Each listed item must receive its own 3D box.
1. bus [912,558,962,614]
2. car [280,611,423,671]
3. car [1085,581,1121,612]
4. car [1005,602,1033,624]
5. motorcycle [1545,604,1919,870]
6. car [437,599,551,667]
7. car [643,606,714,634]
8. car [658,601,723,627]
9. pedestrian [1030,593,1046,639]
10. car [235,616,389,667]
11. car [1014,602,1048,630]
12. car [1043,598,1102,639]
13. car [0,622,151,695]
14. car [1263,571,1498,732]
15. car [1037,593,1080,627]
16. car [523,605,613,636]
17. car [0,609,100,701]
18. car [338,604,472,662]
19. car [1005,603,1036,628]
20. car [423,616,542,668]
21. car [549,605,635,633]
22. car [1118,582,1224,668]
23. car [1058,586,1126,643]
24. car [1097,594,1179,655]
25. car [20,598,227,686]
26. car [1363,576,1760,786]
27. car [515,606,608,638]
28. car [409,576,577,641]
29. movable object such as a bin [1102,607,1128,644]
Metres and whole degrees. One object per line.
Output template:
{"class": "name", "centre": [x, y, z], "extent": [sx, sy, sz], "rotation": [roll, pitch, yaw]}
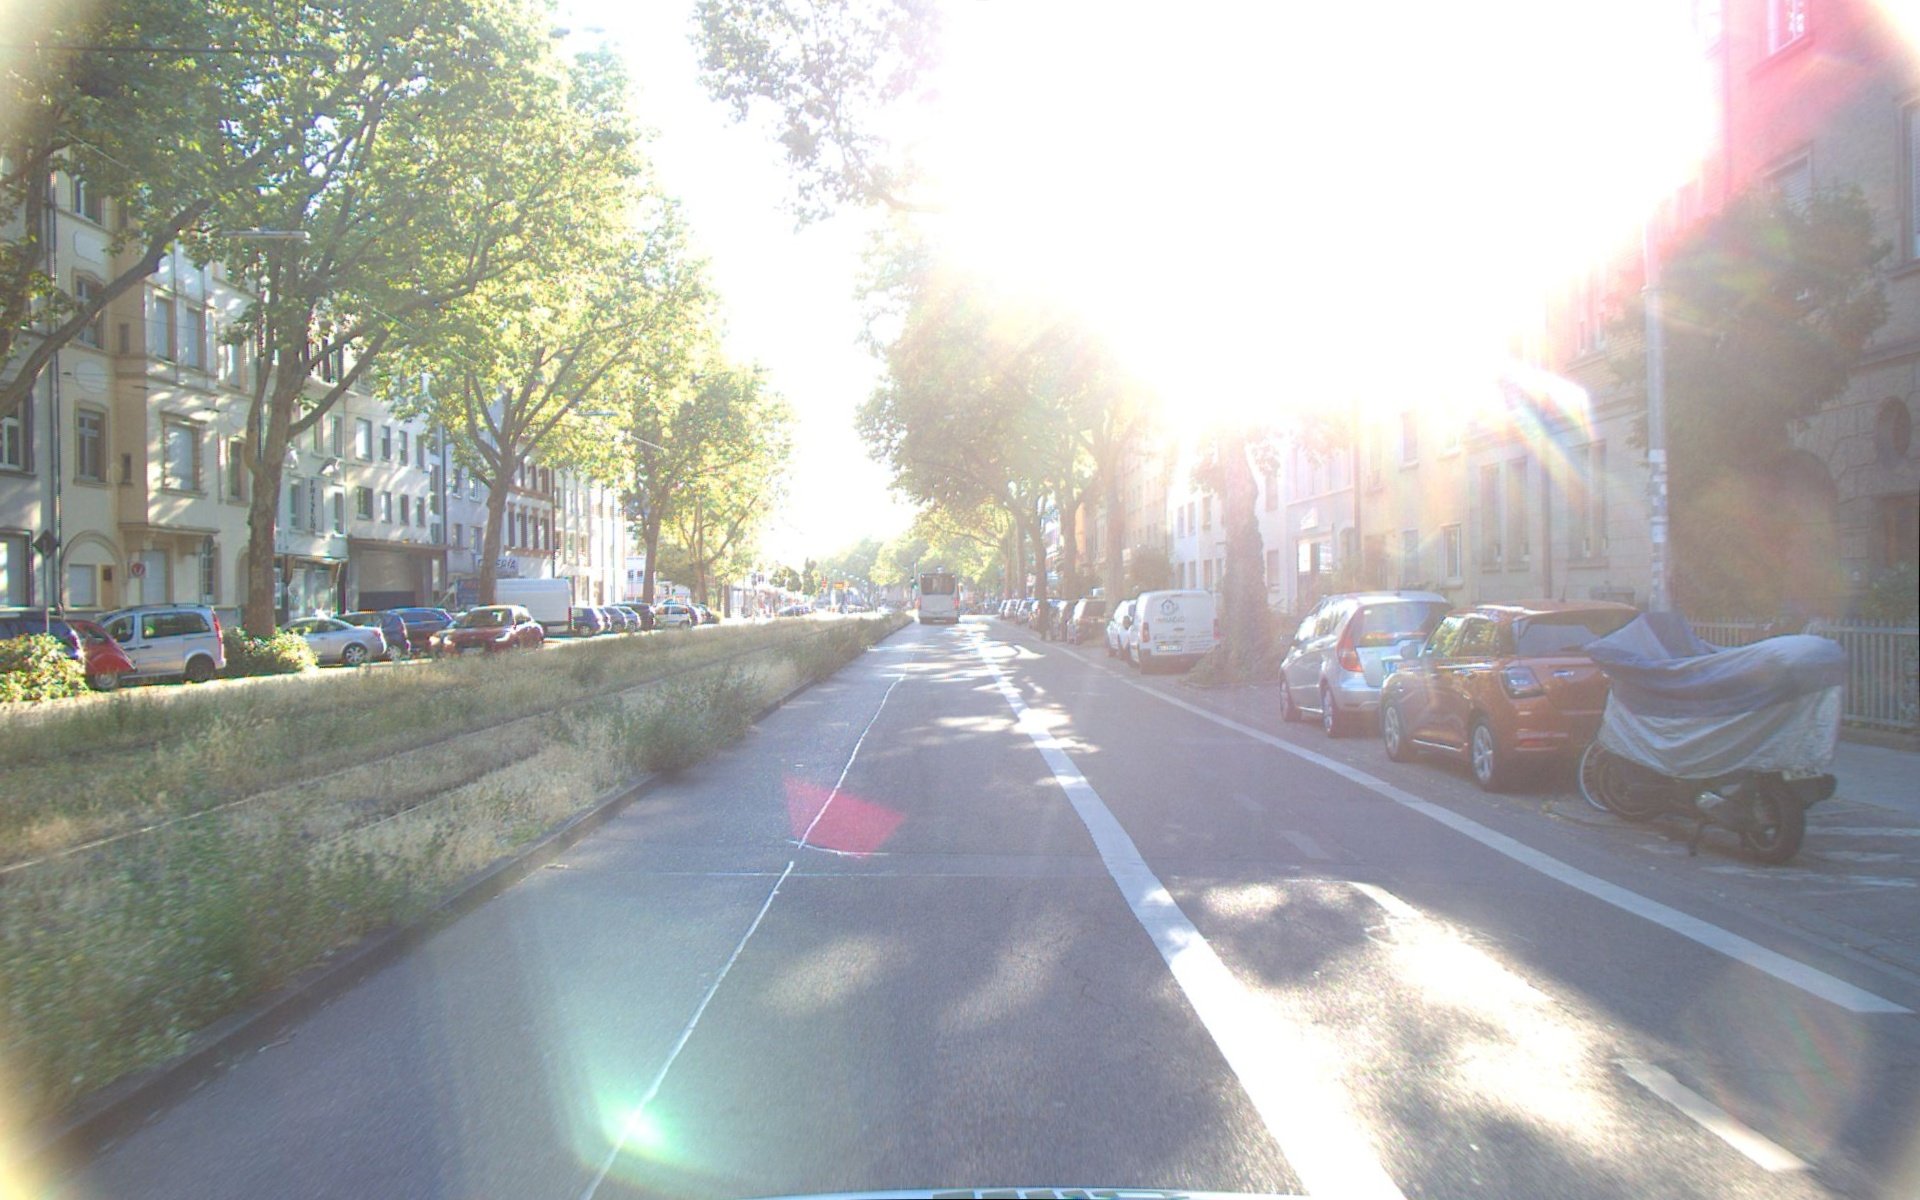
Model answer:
{"class": "bus", "centre": [-1.545, -0.816, 104.658], "extent": [2.777, 3.292, 8.176], "rotation": [-1, -1, -3]}
{"class": "car", "centre": [-19.390, 1.266, 52.727], "extent": [3.951, 1.580, 1.835], "rotation": [-4, 2, -33]}
{"class": "car", "centre": [9.005, -0.185, 104.438], "extent": [1.845, 1.892, 4.324], "rotation": [-1, -1, -1]}
{"class": "car", "centre": [4.247, 0.908, 119.580], "extent": [1.744, 1.542, 3.999], "rotation": [-1, 0, -1]}
{"class": "motorcycle", "centre": [4.737, 0.760, 10.384], "extent": [0.809, 1.422, 2.371], "rotation": [-3, 1, -13]}
{"class": "car", "centre": [-11.683, 0.792, 41.741], "extent": [1.753, 1.601, 3.999], "rotation": [-1, 0, -1]}
{"class": "car", "centre": [-18.277, 1.318, 107.574], "extent": [4.275, 1.768, 1.830], "rotation": [0, -1, -42]}
{"class": "car", "centre": [-19.172, 0.967, 117.661], "extent": [4.275, 1.768, 1.830], "rotation": [0, -1, -42]}
{"class": "pedestrian", "centre": [3.083, 0.648, 65.698], "extent": [0.565, 1.811, 0.514], "rotation": [-1, 0, -1]}
{"class": "car", "centre": [-18.716, 1.170, 47.804], "extent": [3.950, 1.380, 1.568], "rotation": [0, -1, -33]}
{"class": "car", "centre": [4.139, 0.937, 96.882], "extent": [1.744, 1.542, 3.999], "rotation": [-1, 0, -1]}
{"class": "car", "centre": [4.260, 0.705, 63.120], "extent": [1.653, 1.512, 3.995], "rotation": [-1, -1, -5]}
{"class": "car", "centre": [-19.459, 1.222, 35.022], "extent": [3.962, 1.474, 1.563], "rotation": [0, -1, -40]}
{"class": "car", "centre": [4.936, 0.582, 19.935], "extent": [1.709, 1.720, 3.850], "rotation": [-1, -1, -2]}
{"class": "car", "centre": [4.735, 0.476, 79.716], "extent": [1.744, 1.542, 3.999], "rotation": [-1, 0, -1]}
{"class": "car", "centre": [-19.955, 1.053, 84.191], "extent": [4.240, 1.484, 1.845], "rotation": [-1, -1, -24]}
{"class": "car", "centre": [-19.175, 1.078, 32.323], "extent": [3.962, 1.754, 1.759], "rotation": [0, -1, -40]}
{"class": "car", "centre": [-18.822, 1.107, 56.109], "extent": [3.950, 1.728, 1.835], "rotation": [-3, 0, -33]}
{"class": "car", "centre": [3.838, 0.963, 105.129], "extent": [1.744, 1.542, 3.999], "rotation": [-1, 0, -1]}
{"class": "car", "centre": [-14.665, 1.259, 51.098], "extent": [1.708, 1.485, 4.928], "rotation": [-1, -1, 7]}
{"class": "car", "centre": [-20.282, 1.057, 91.226], "extent": [4.275, 1.483, 1.830], "rotation": [0, -1, -42]}
{"class": "car", "centre": [4.669, 0.549, 37.151], "extent": [1.709, 1.801, 4.393], "rotation": [-1, -1, -1]}
{"class": "car", "centre": [4.447, 0.501, 56.278], "extent": [1.709, 1.801, 4.986], "rotation": [-1, -1, -2]}
{"class": "car", "centre": [4.621, 0.611, 43.416], "extent": [1.612, 1.512, 3.999], "rotation": [-1, 0, -1]}
{"class": "car", "centre": [-19.419, 0.945, 38.478], "extent": [3.964, 1.915, 1.970], "rotation": [0, -1, -41]}
{"class": "car", "centre": [5.123, 0.648, 14.726], "extent": [1.953, 1.587, 3.978], "rotation": [-1, -1, -2]}
{"class": "car", "centre": [-19.635, 1.095, 81.594], "extent": [4.216, 1.484, 1.856], "rotation": [-1, -1, -7]}
{"class": "car", "centre": [-20.283, 0.346, 71.847], "extent": [6.840, 2.725, 2.171], "rotation": [-1, -1, -22]}
{"class": "movable object such as a bin", "centre": [4.715, 0.776, 50.386], "extent": [0.660, 1.064, 0.879], "rotation": [-1, 1, -1]}
